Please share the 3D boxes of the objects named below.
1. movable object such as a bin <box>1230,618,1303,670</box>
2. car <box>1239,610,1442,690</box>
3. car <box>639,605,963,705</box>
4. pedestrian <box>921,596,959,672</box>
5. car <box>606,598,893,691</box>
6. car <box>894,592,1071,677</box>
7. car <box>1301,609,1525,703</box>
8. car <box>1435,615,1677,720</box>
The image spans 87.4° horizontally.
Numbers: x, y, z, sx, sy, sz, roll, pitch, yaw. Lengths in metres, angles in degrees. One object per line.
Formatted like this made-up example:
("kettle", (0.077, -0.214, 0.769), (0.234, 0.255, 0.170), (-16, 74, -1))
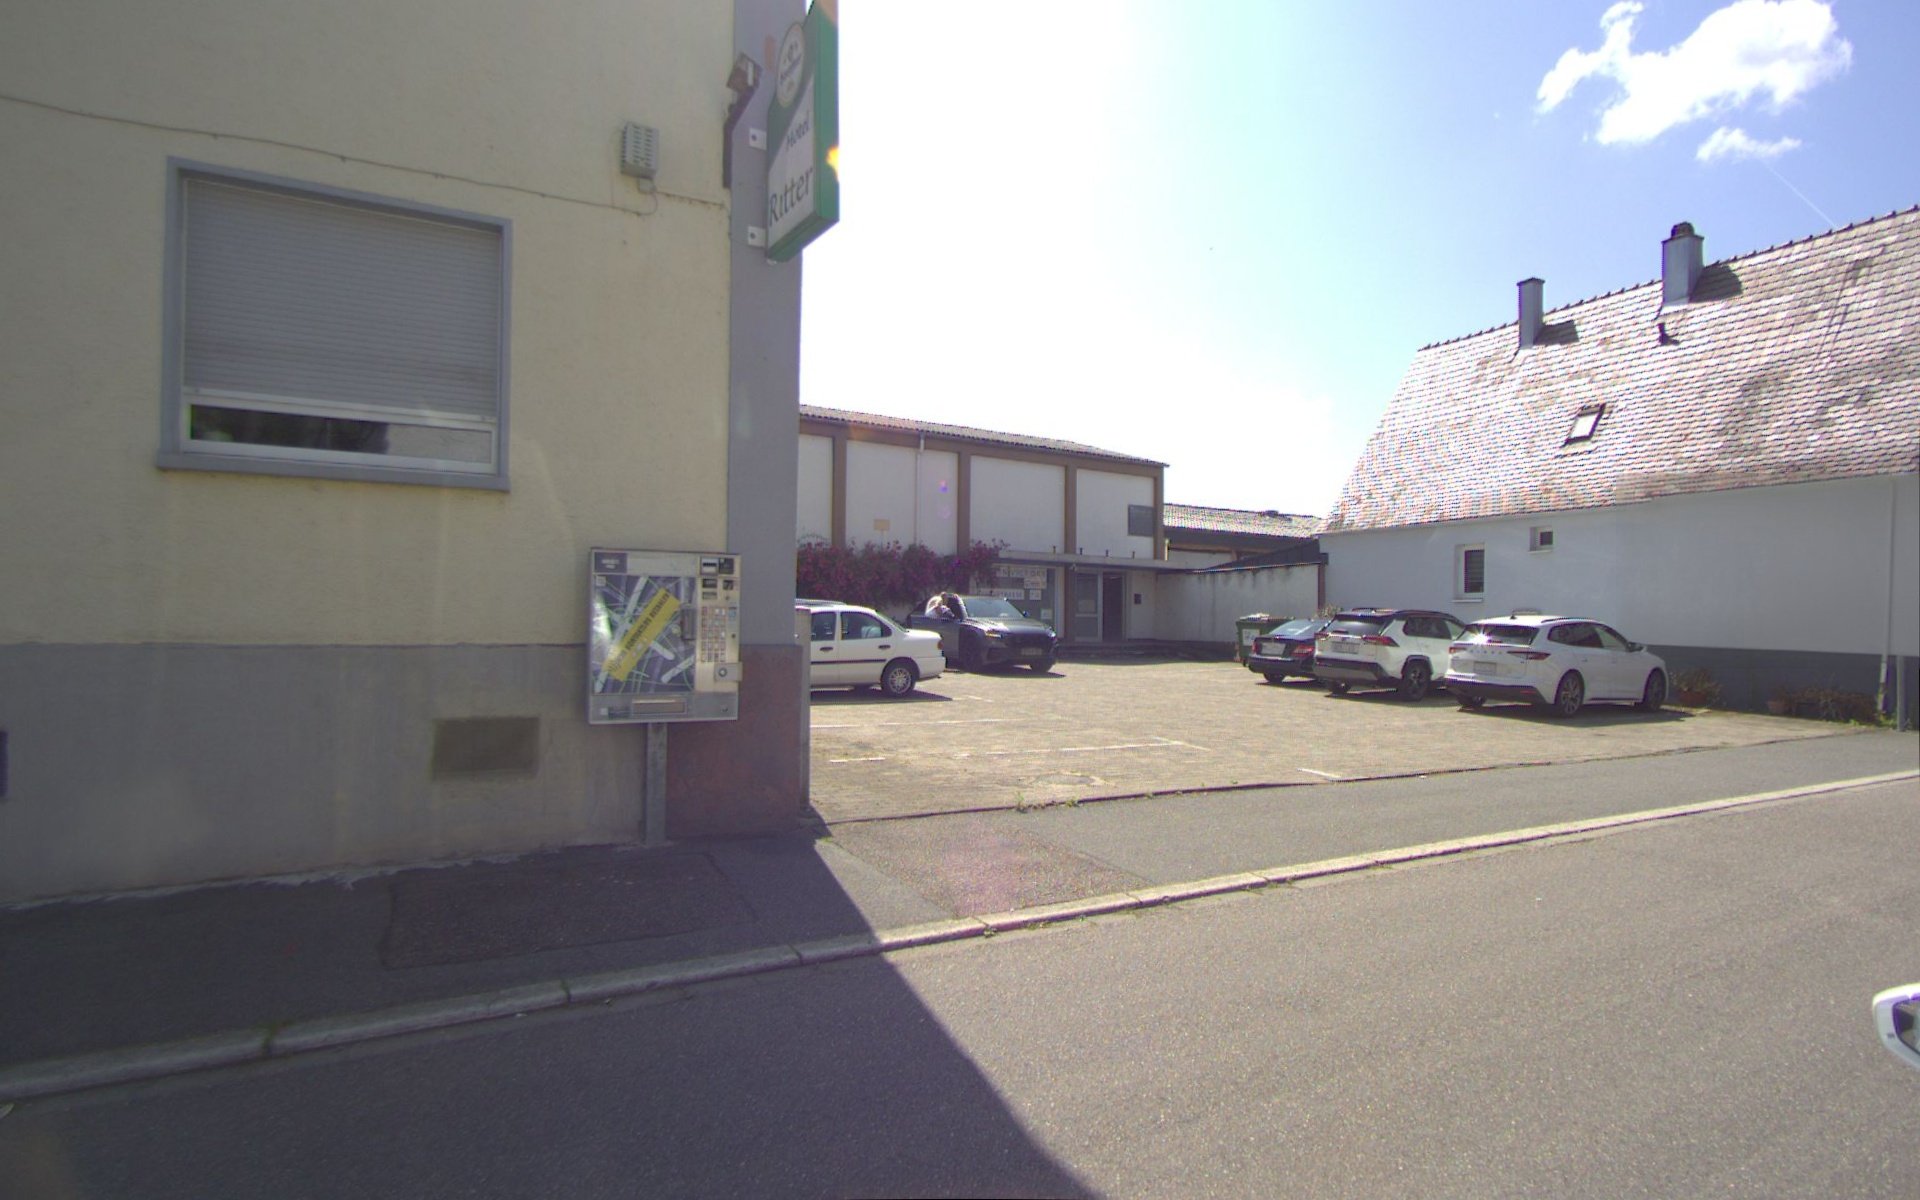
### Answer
("movable object such as a bin", (8.062, 1.149, 26.451), (1.196, 1.318, 1.382), (1, -1, -28))
("car", (8.333, 1.052, 21.896), (4.427, 1.591, 1.765), (1, -1, -31))
("car", (-2.470, 0.822, 15.998), (4.771, 1.398, 1.816), (1, -1, -29))
("pedestrian", (-0.447, 0.763, 22.784), (0.769, 1.680, 0.831), (1, 0, 4))
("car", (-3.748, 0.771, 18.148), (4.771, 1.501, 1.816), (1, -1, -29))
("car", (0.382, 0.739, 23.207), (2.013, 1.748, 4.660), (1, -1, -29))
("car", (8.859, 1.036, 19.554), (4.427, 1.641, 1.765), (1, -1, -31))
("car", (10.379, 1.103, 17.396), (4.428, 1.591, 1.765), (1, -1, -32))
